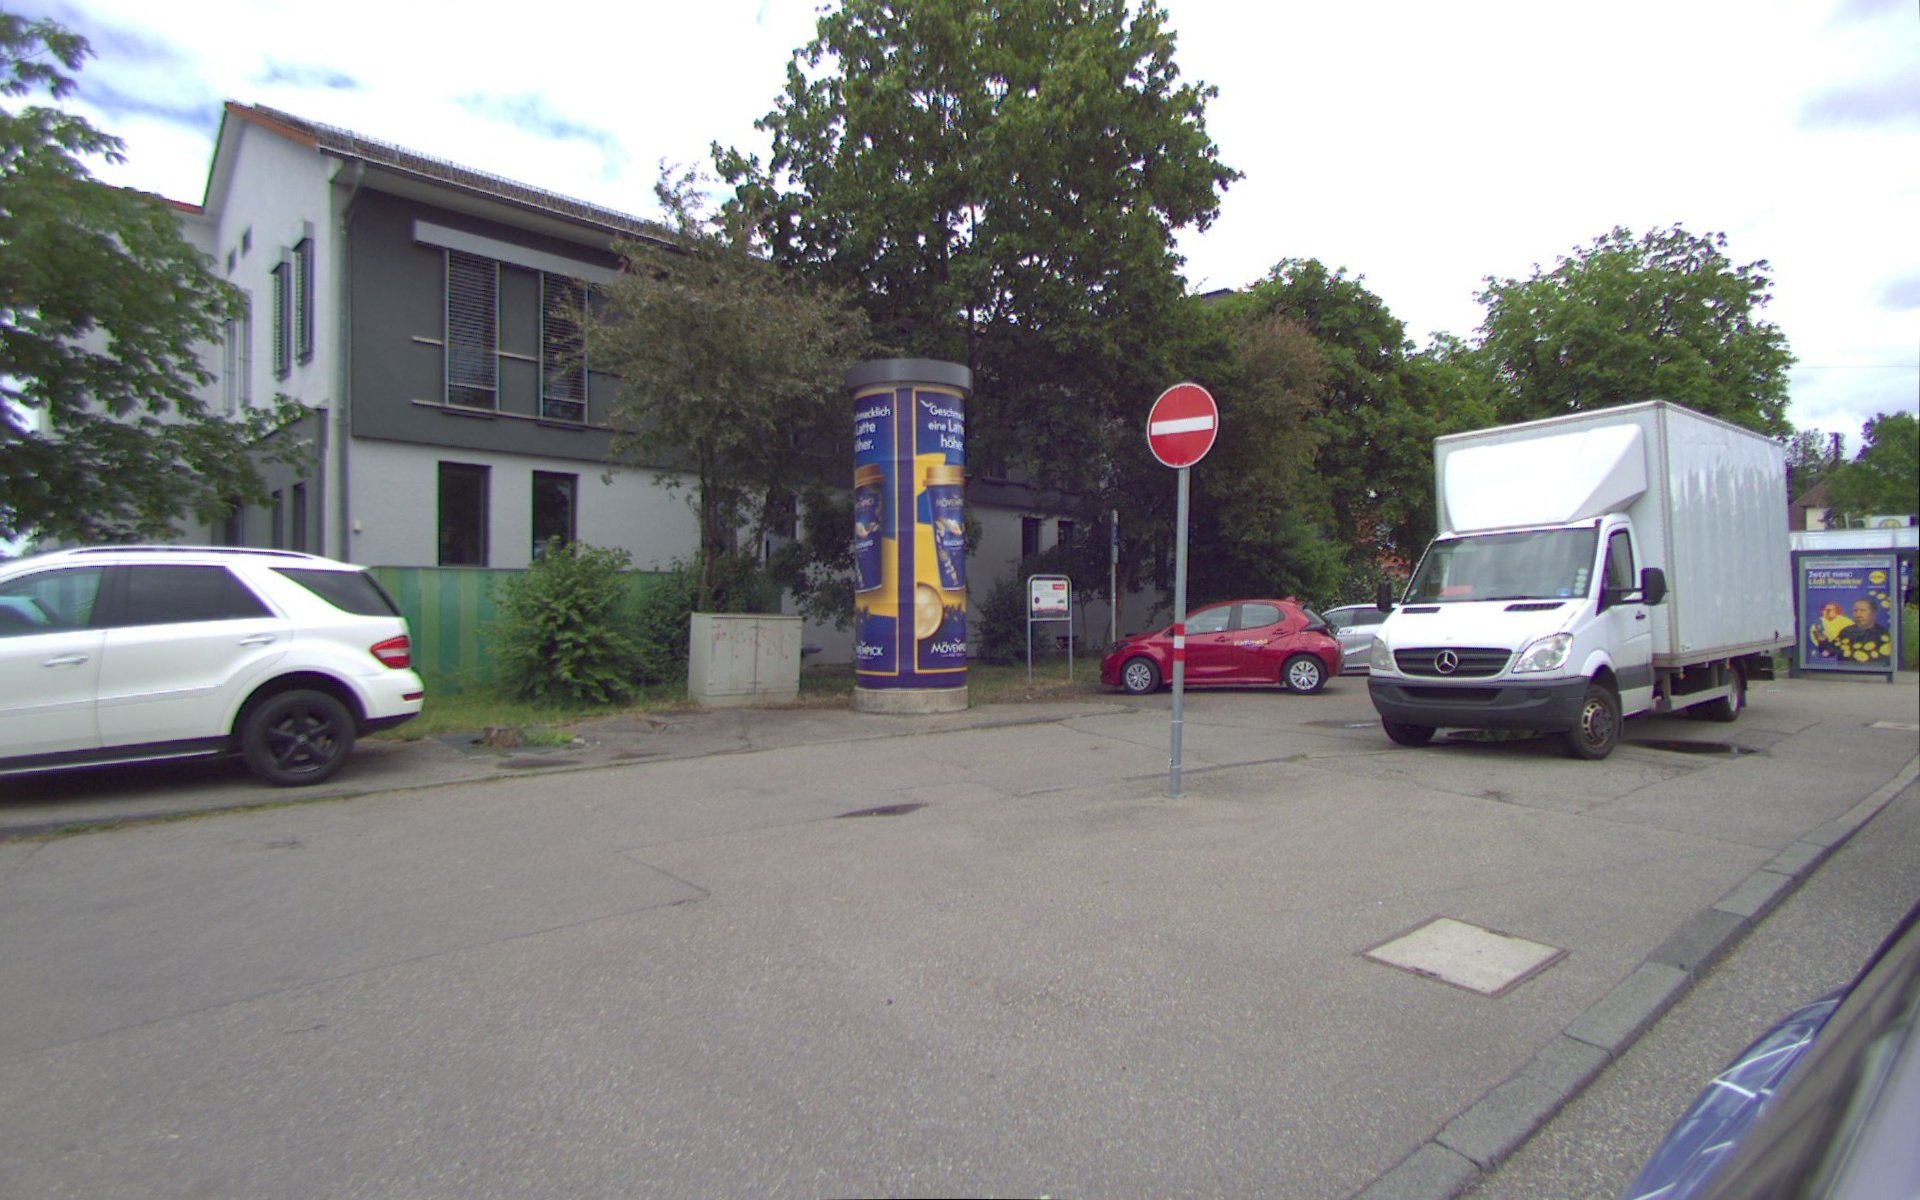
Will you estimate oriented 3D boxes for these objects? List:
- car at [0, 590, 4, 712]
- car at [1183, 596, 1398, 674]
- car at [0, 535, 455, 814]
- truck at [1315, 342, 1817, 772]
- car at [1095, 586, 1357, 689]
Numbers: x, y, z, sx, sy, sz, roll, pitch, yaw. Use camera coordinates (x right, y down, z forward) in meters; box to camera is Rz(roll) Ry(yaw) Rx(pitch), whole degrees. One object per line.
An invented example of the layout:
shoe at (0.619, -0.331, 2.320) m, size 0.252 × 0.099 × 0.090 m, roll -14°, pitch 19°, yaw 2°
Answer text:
car at (-13.729, 0.681, 11.422) m, size 1.615 × 1.502 × 4.154 m, roll 0°, pitch 2°, yaw 42°
car at (6.610, 0.706, 20.493) m, size 3.946 × 1.428 × 1.516 m, roll -2°, pitch -1°, yaw 18°
car at (-6.454, 0.472, 7.420) m, size 4.640 × 1.780 × 1.855 m, roll 0°, pitch 0°, yaw -41°
truck at (7.311, -0.408, 11.604) m, size 7.638 × 3.469 × 2.540 m, roll -1°, pitch 0°, yaw -40°
car at (4.301, 0.619, 16.419) m, size 3.856 × 1.502 × 1.669 m, roll -2°, pitch -1°, yaw 25°
